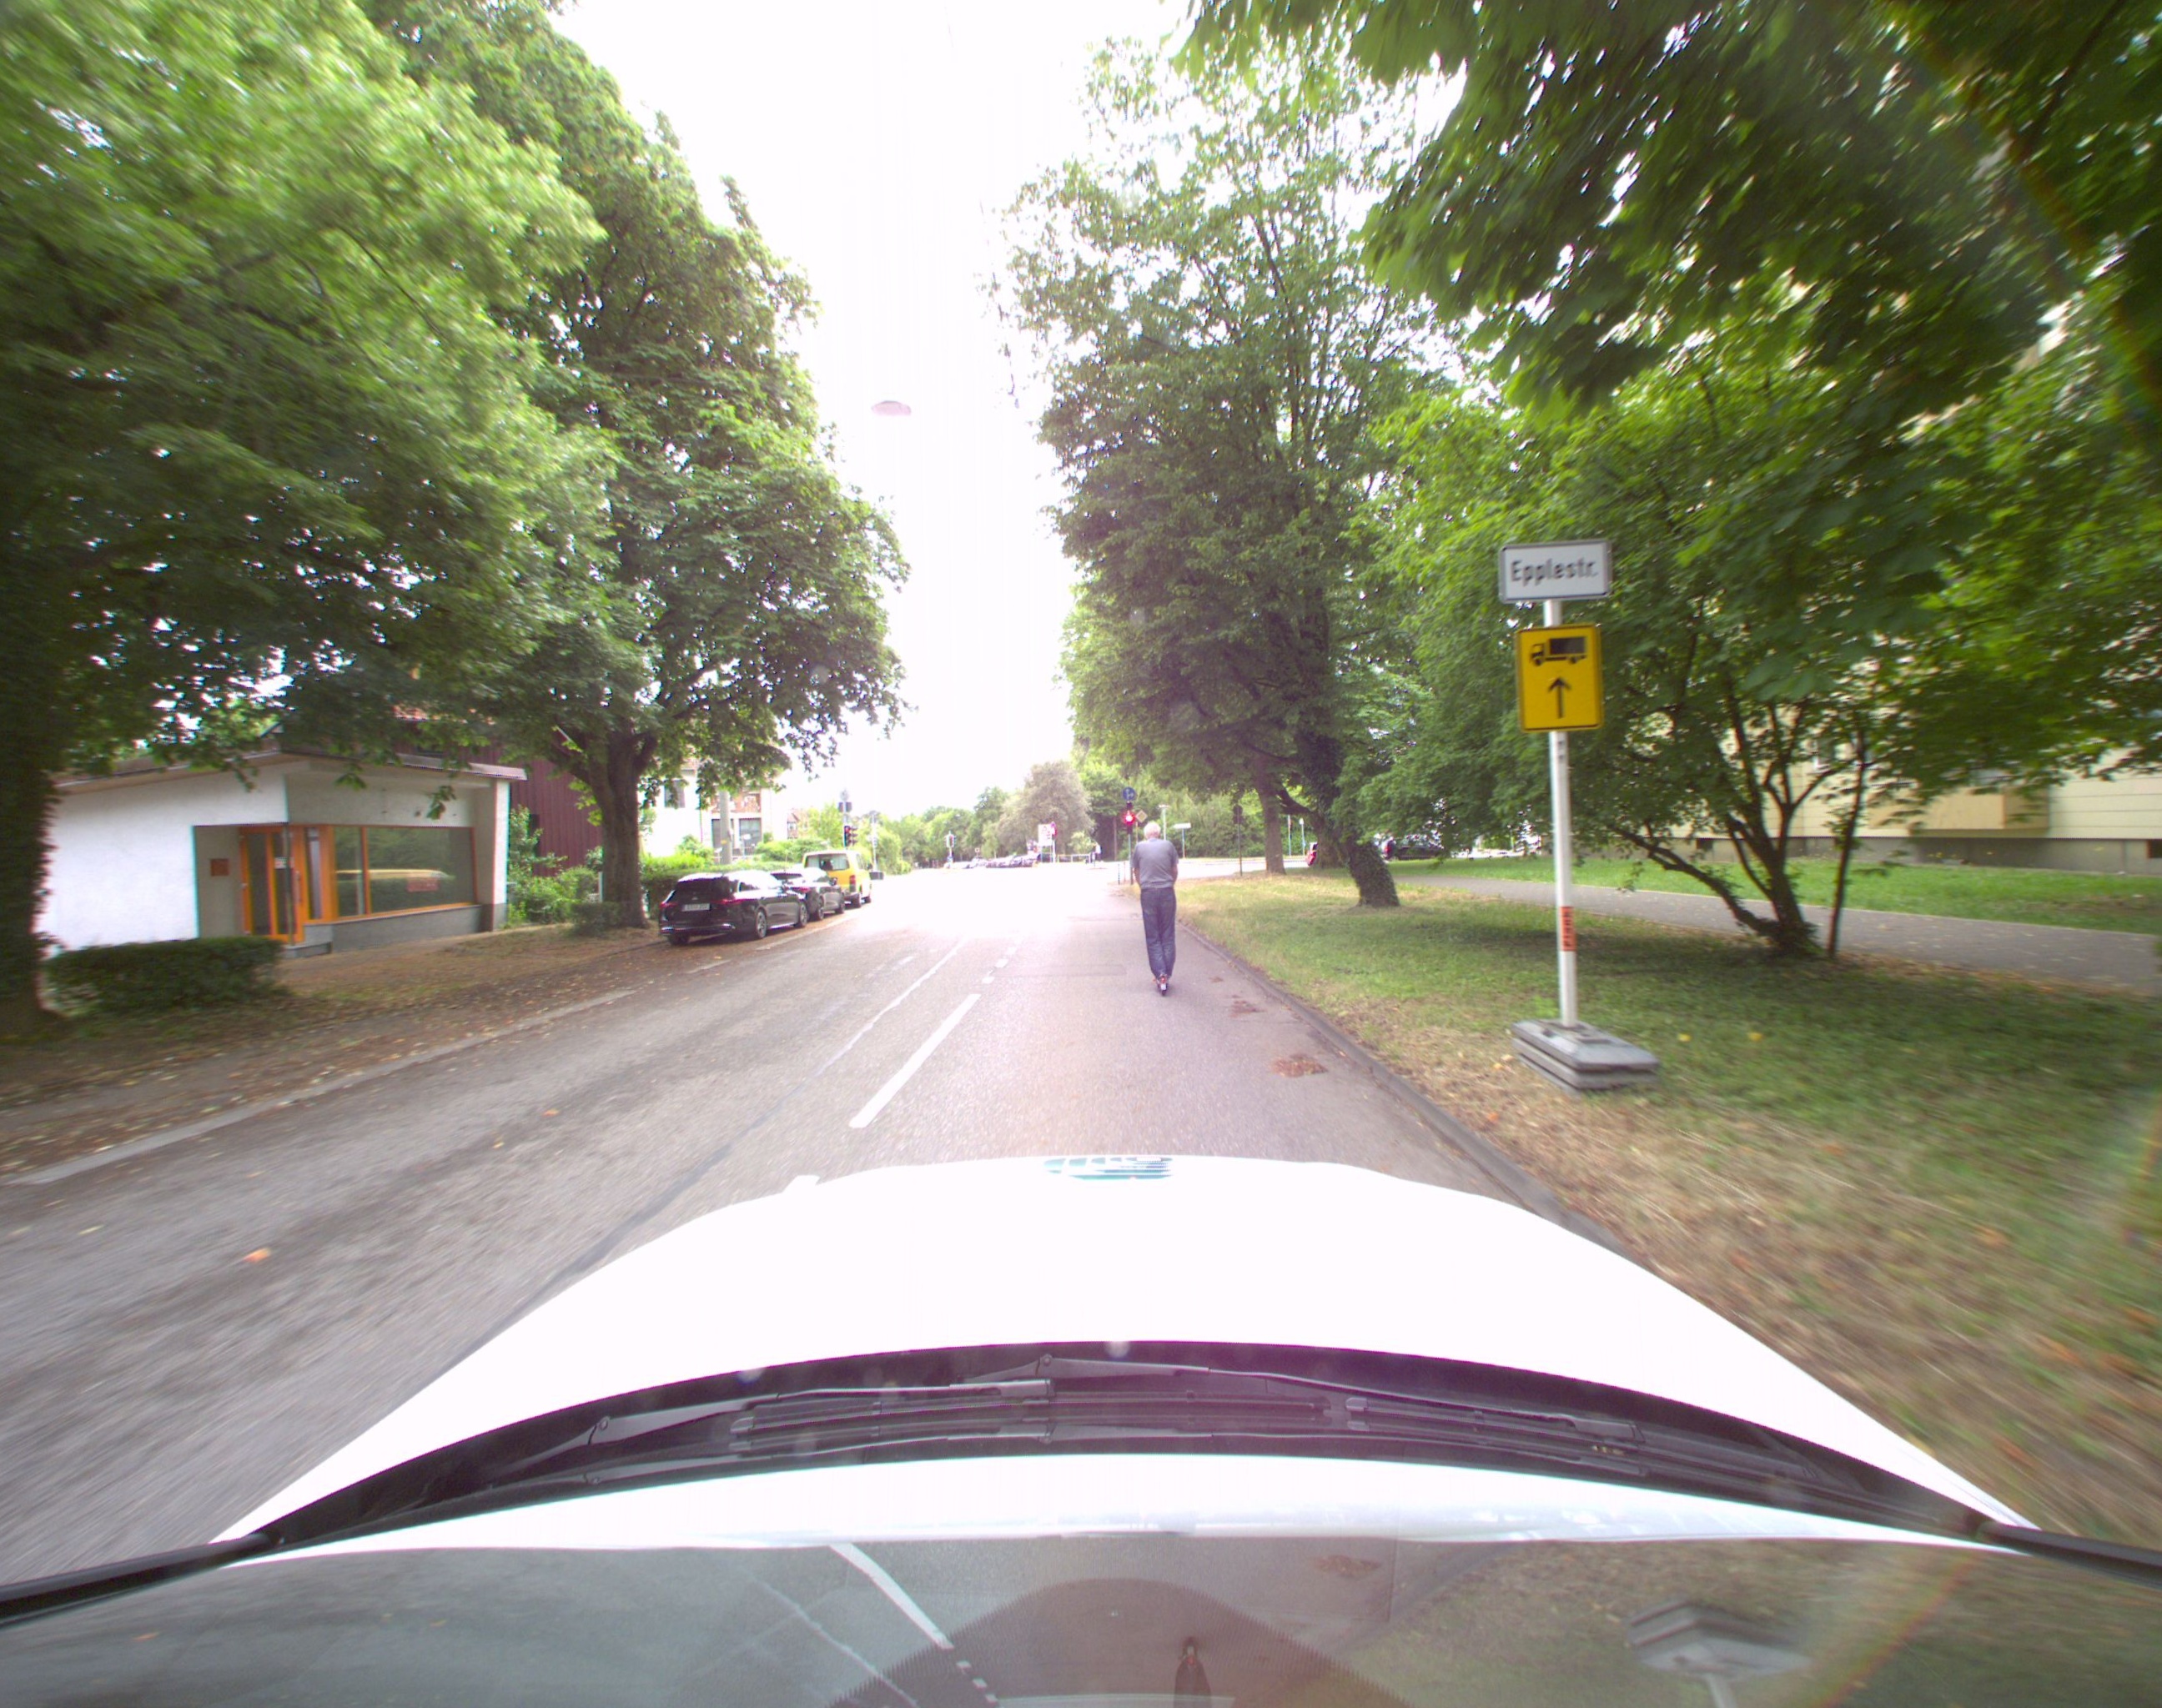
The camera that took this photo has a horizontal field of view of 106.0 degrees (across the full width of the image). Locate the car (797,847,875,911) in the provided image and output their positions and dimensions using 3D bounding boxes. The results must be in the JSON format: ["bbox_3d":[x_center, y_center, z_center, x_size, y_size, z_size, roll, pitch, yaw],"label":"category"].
[{"bbox_3d":[-8.509,0.850,28.642,1.856,1.964,4.491,-3,0,-8],"label":"car"}]

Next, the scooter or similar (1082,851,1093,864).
[{"bbox_3d":[0.537,0.291,66.291,0.704,1.049,0.791,-3,0,16],"label":"scooter or similar"}]

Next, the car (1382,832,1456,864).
[{"bbox_3d":[19.793,-0.349,47.783,3.952,1.726,1.810,0,3,22],"label":"car"}]

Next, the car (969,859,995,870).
[{"bbox_3d":[-16.010,1.671,131.803,3.982,1.510,1.796,-3,0,-6],"label":"car"}]

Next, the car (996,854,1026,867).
[{"bbox_3d":[-9.504,0.870,111.369,3.982,1.510,1.796,-3,0,-6],"label":"car"}]

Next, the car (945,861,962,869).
[{"bbox_3d":[-30.989,2.664,197.860,3.982,1.510,1.796,-3,0,-6],"label":"car"}]

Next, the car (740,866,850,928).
[{"bbox_3d":[-7.945,1.128,23.025,1.791,1.416,4.184,-3,0,-4],"label":"car"}]

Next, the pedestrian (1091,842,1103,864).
[{"bbox_3d":[1.285,-0.104,66.077,0.726,1.761,0.664,-3,0,16],"label":"pedestrian"}]

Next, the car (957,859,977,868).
[{"bbox_3d":[-22.968,1.927,164.319,3.982,1.510,1.796,-3,0,-6],"label":"car"}]

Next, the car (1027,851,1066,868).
[{"bbox_3d":[-3.632,0.609,85.108,3.982,1.510,1.796,-3,0,-6],"label":"car"}]

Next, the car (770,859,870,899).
[{"bbox_3d":[-11.711,1.113,36.794,3.985,1.510,1.795,-3,2,-9],"label":"car"}]

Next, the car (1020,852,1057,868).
[{"bbox_3d":[-4.822,0.662,92.179,3.982,1.510,1.796,-3,0,-6],"label":"car"}]

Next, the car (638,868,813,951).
[{"bbox_3d":[-7.516,1.094,17.778,1.887,1.410,4.550,-3,0,-2],"label":"car"}]

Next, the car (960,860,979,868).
[{"bbox_3d":[-24.079,2.108,175.949,3.982,1.510,1.796,-3,0,-6],"label":"car"}]

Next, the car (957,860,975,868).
[{"bbox_3d":[-25.496,2.162,180.690,3.982,1.510,1.796,-3,0,-6],"label":"car"}]

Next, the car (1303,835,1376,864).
[{"bbox_3d":[15.506,-0.259,48.938,3.963,1.557,1.805,-1,3,9],"label":"car"}]

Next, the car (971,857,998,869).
[{"bbox_3d":[-14.970,1.392,126.226,3.982,1.510,1.796,-3,0,-6],"label":"car"}]

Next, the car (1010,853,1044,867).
[{"bbox_3d":[-6.575,0.741,98.918,3.982,1.510,1.796,-3,0,-6],"label":"car"}]

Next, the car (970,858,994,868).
[{"bbox_3d":[-17.724,1.593,145.859,3.982,1.510,1.796,-3,0,-6],"label":"car"}]

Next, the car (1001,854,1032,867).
[{"bbox_3d":[-8.684,0.835,109.519,3.982,1.510,1.796,-3,0,-6],"label":"car"}]

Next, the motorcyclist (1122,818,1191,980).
[{"bbox_3d":[0.849,0.494,9.299,0.671,1.761,0.638,-1,0,-2],"label":"motorcyclist"}]

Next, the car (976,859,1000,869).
[{"bbox_3d":[-16.360,1.731,143.653,3.982,1.510,1.796,-3,0,-6],"label":"car"}]

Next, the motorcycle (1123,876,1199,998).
[{"bbox_3d":[0.864,0.884,9.115,0.671,1.217,1.273,-1,0,-1],"label":"motorcycle"}]
